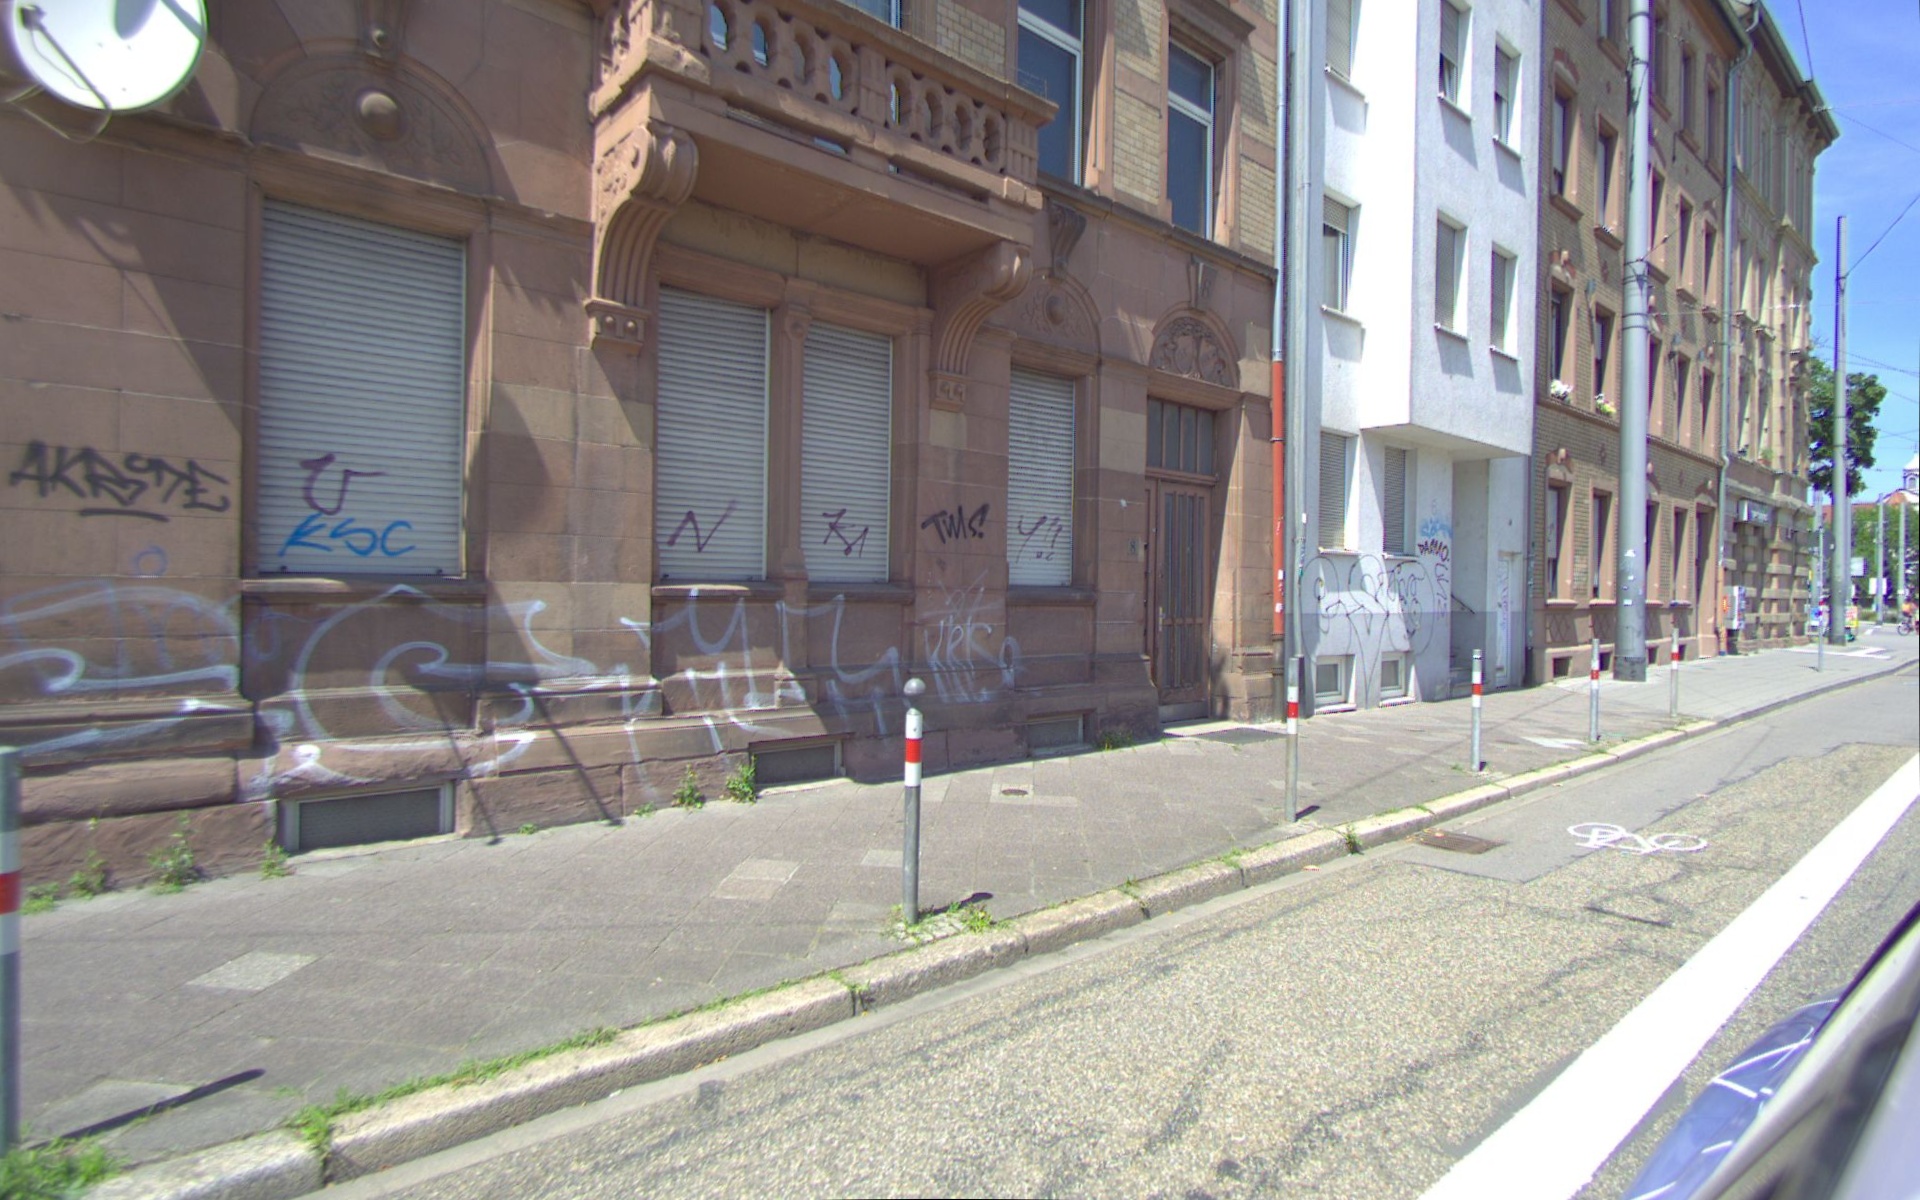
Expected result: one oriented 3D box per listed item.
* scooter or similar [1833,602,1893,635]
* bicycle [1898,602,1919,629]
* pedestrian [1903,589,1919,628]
[{"bbox_3d":[33.504,0.681,37.568,1.507,1.170,0.710,1,0,22],"label":"scooter or similar"},{"bbox_3d":[45.404,0.730,47.184,2.182,1.266,1.098,1,0,6],"label":"bicycle"},{"bbox_3d":[44.800,0.412,47.248,0.810,1.797,0.813,0,1,6],"label":"pedestrian"}]
